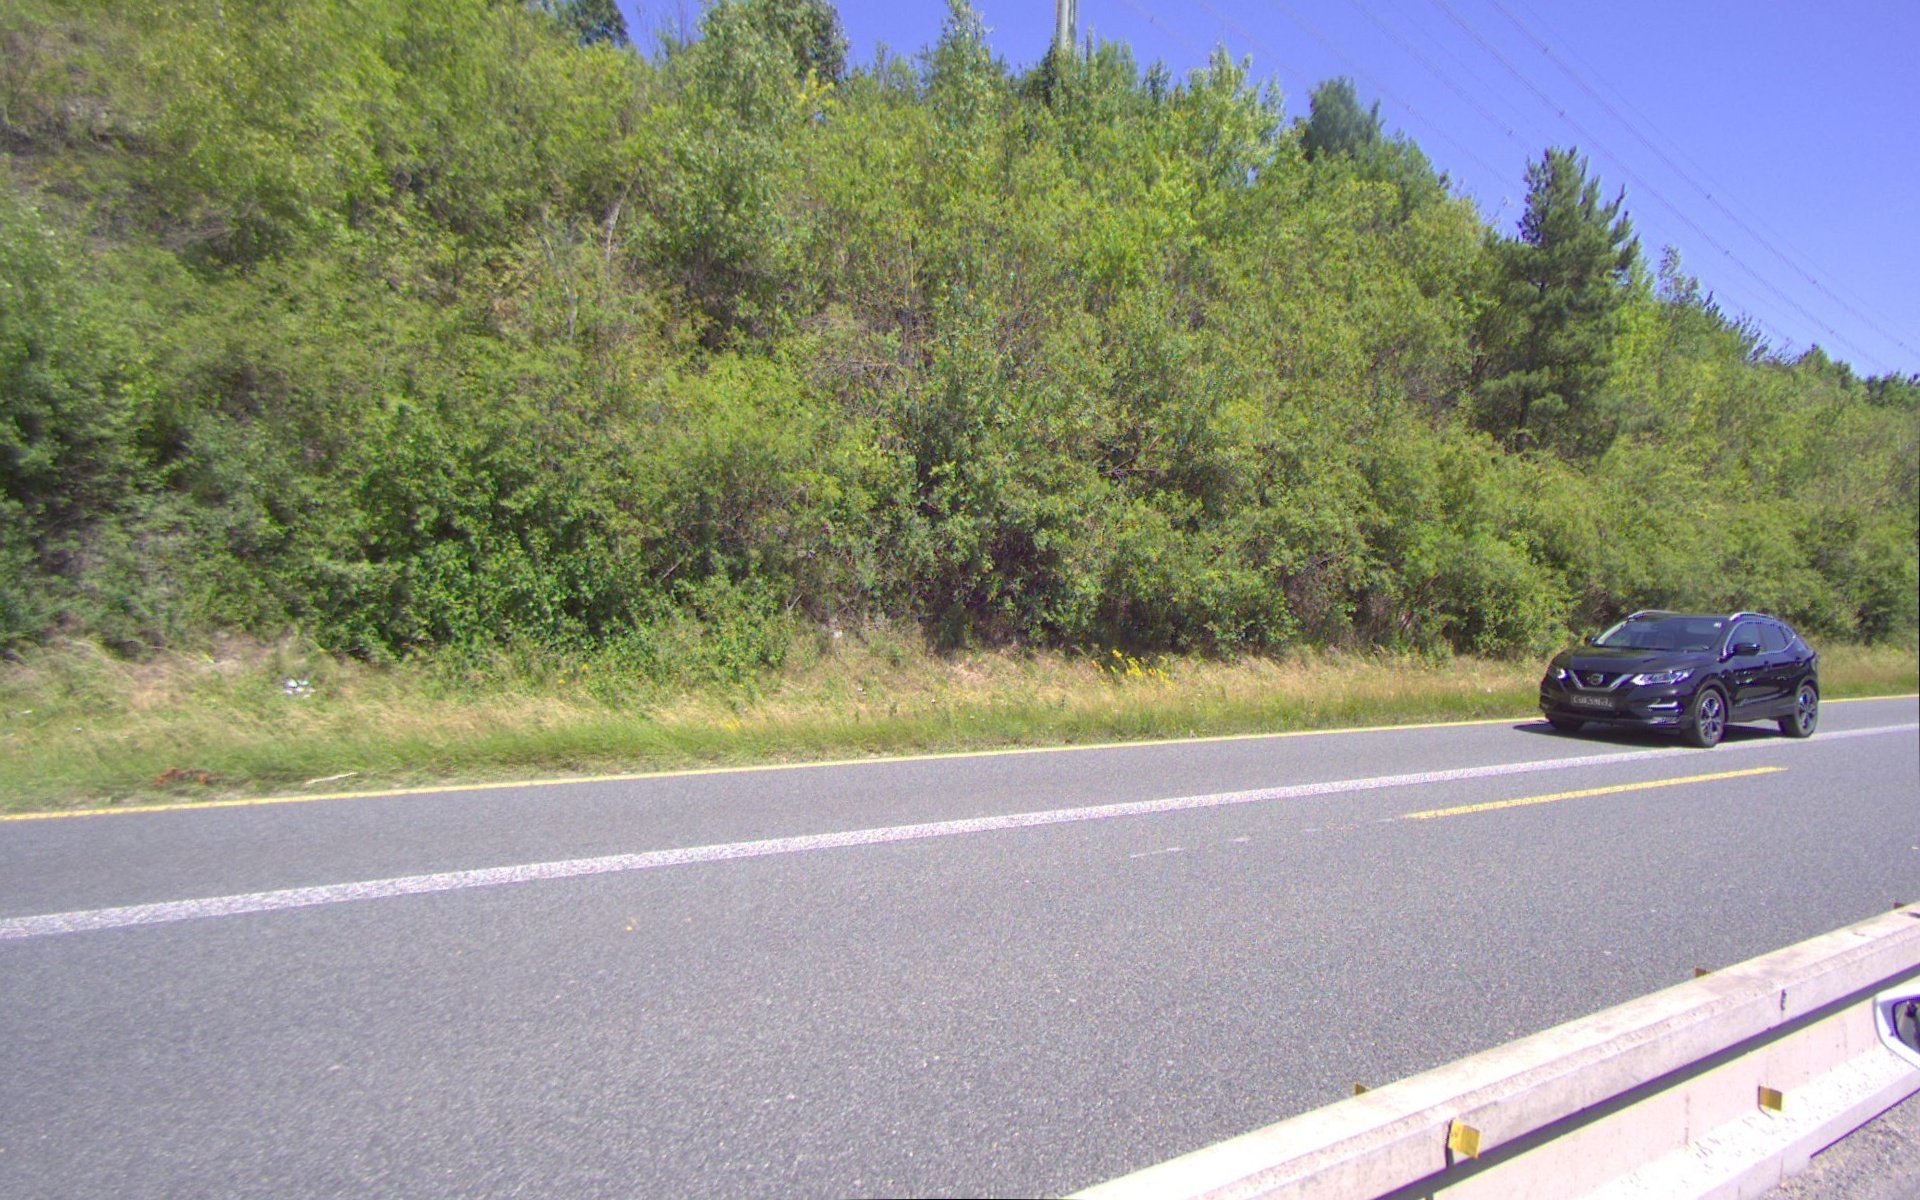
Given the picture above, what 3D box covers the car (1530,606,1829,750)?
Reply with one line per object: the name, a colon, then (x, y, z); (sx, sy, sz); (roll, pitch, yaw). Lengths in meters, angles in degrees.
car: (9.392, 0.924, 13.056); (3.948, 1.586, 1.691); (1, 1, -31)
